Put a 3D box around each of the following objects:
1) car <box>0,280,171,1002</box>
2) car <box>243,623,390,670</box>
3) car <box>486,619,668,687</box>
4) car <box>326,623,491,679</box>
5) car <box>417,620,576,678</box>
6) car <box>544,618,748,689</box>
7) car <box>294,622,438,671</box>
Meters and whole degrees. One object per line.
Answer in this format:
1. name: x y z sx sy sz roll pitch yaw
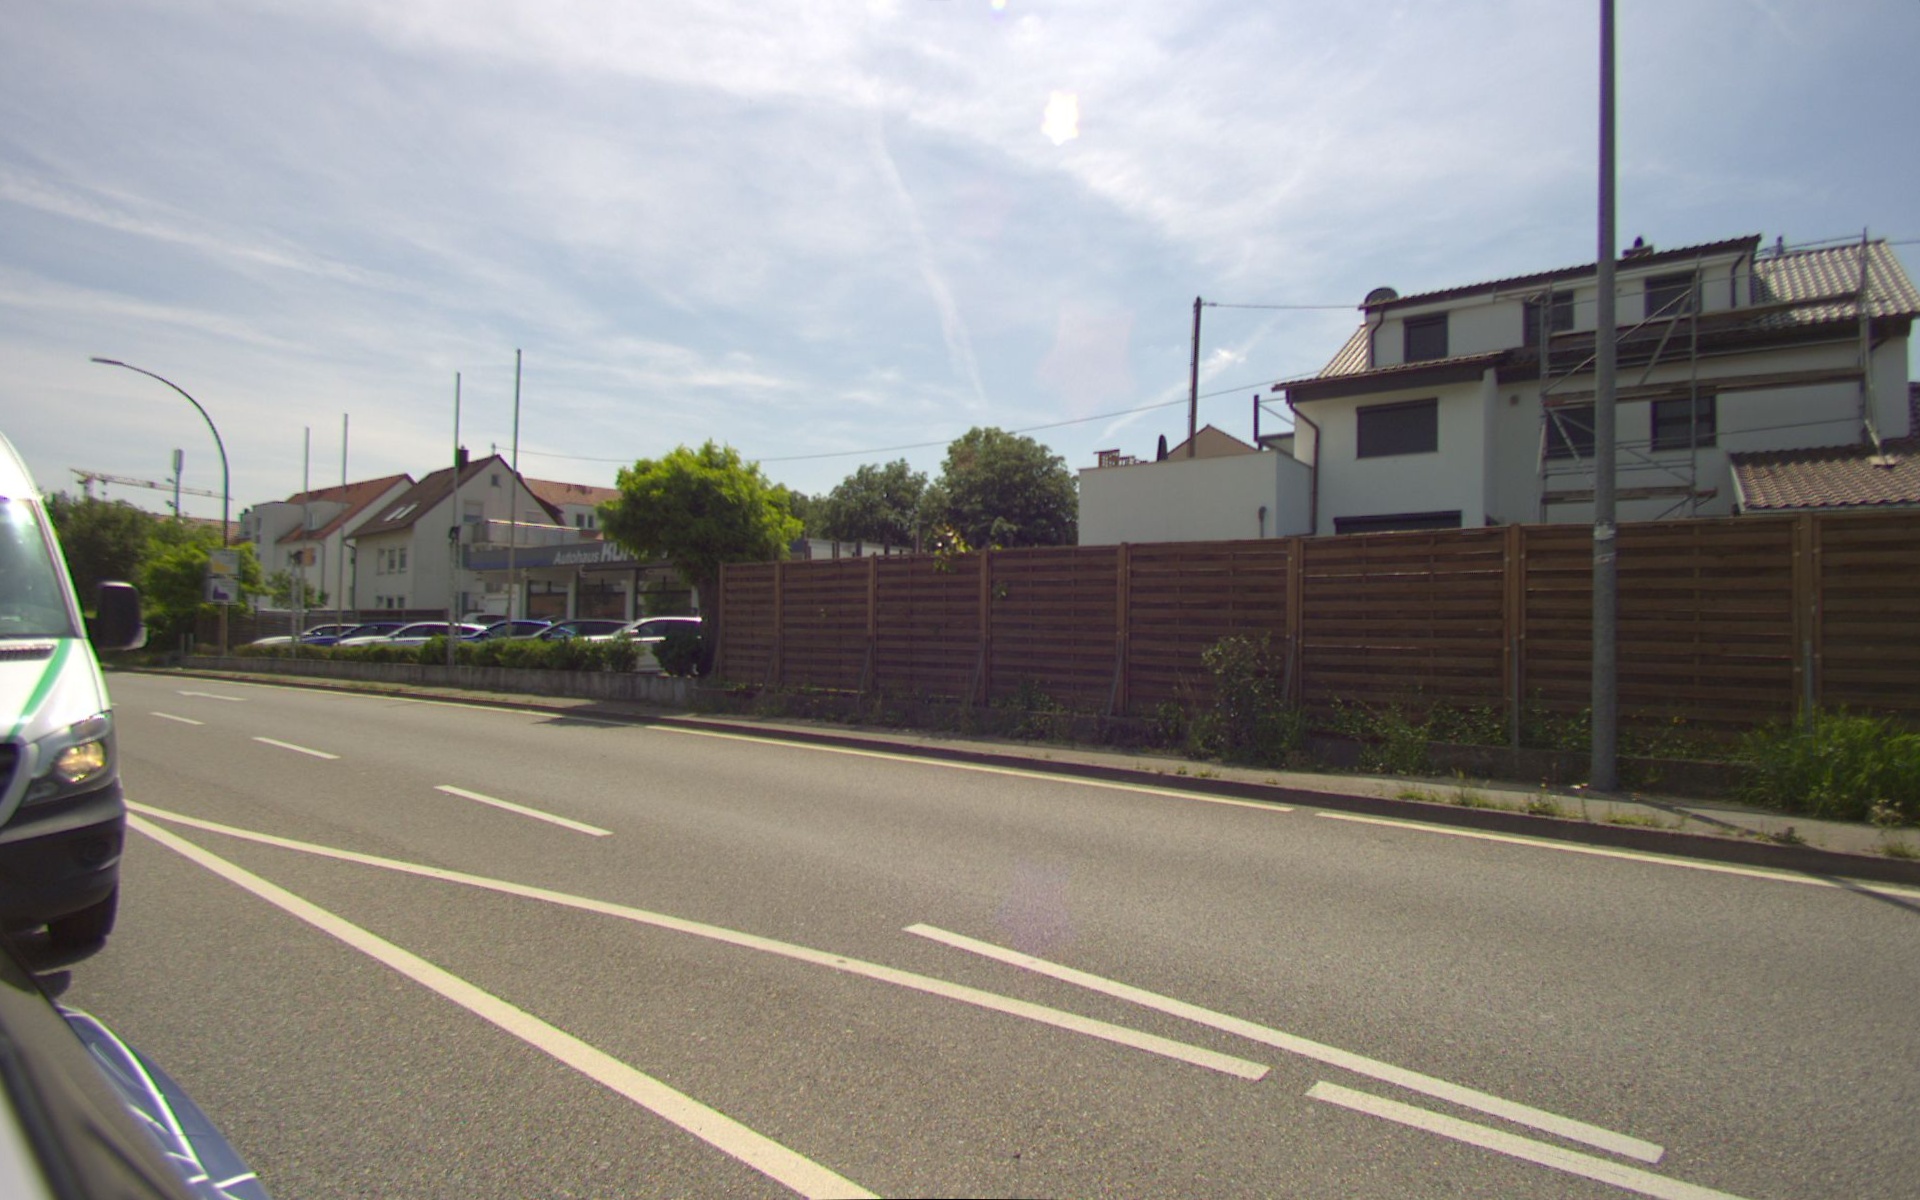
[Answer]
1. car: -5.947 0.207 5.084 5.628 2.619 1.953 -2 -1 39
2. car: -22.941 1.619 36.273 4.192 1.541 2.006 -1 -1 -24
3. car: -9.839 1.310 26.039 4.187 1.557 1.856 -1 -1 -28
4. car: -16.691 1.502 30.878 4.238 1.530 2.006 -1 -1 -23
5. car: -12.986 1.333 28.446 3.930 1.453 1.860 -1 -1 -25
6. car: -7.235 1.182 23.373 4.264 1.471 1.861 0 -1 -26
7. car: -19.724 1.522 33.813 3.930 1.475 2.006 -1 -1 -24
